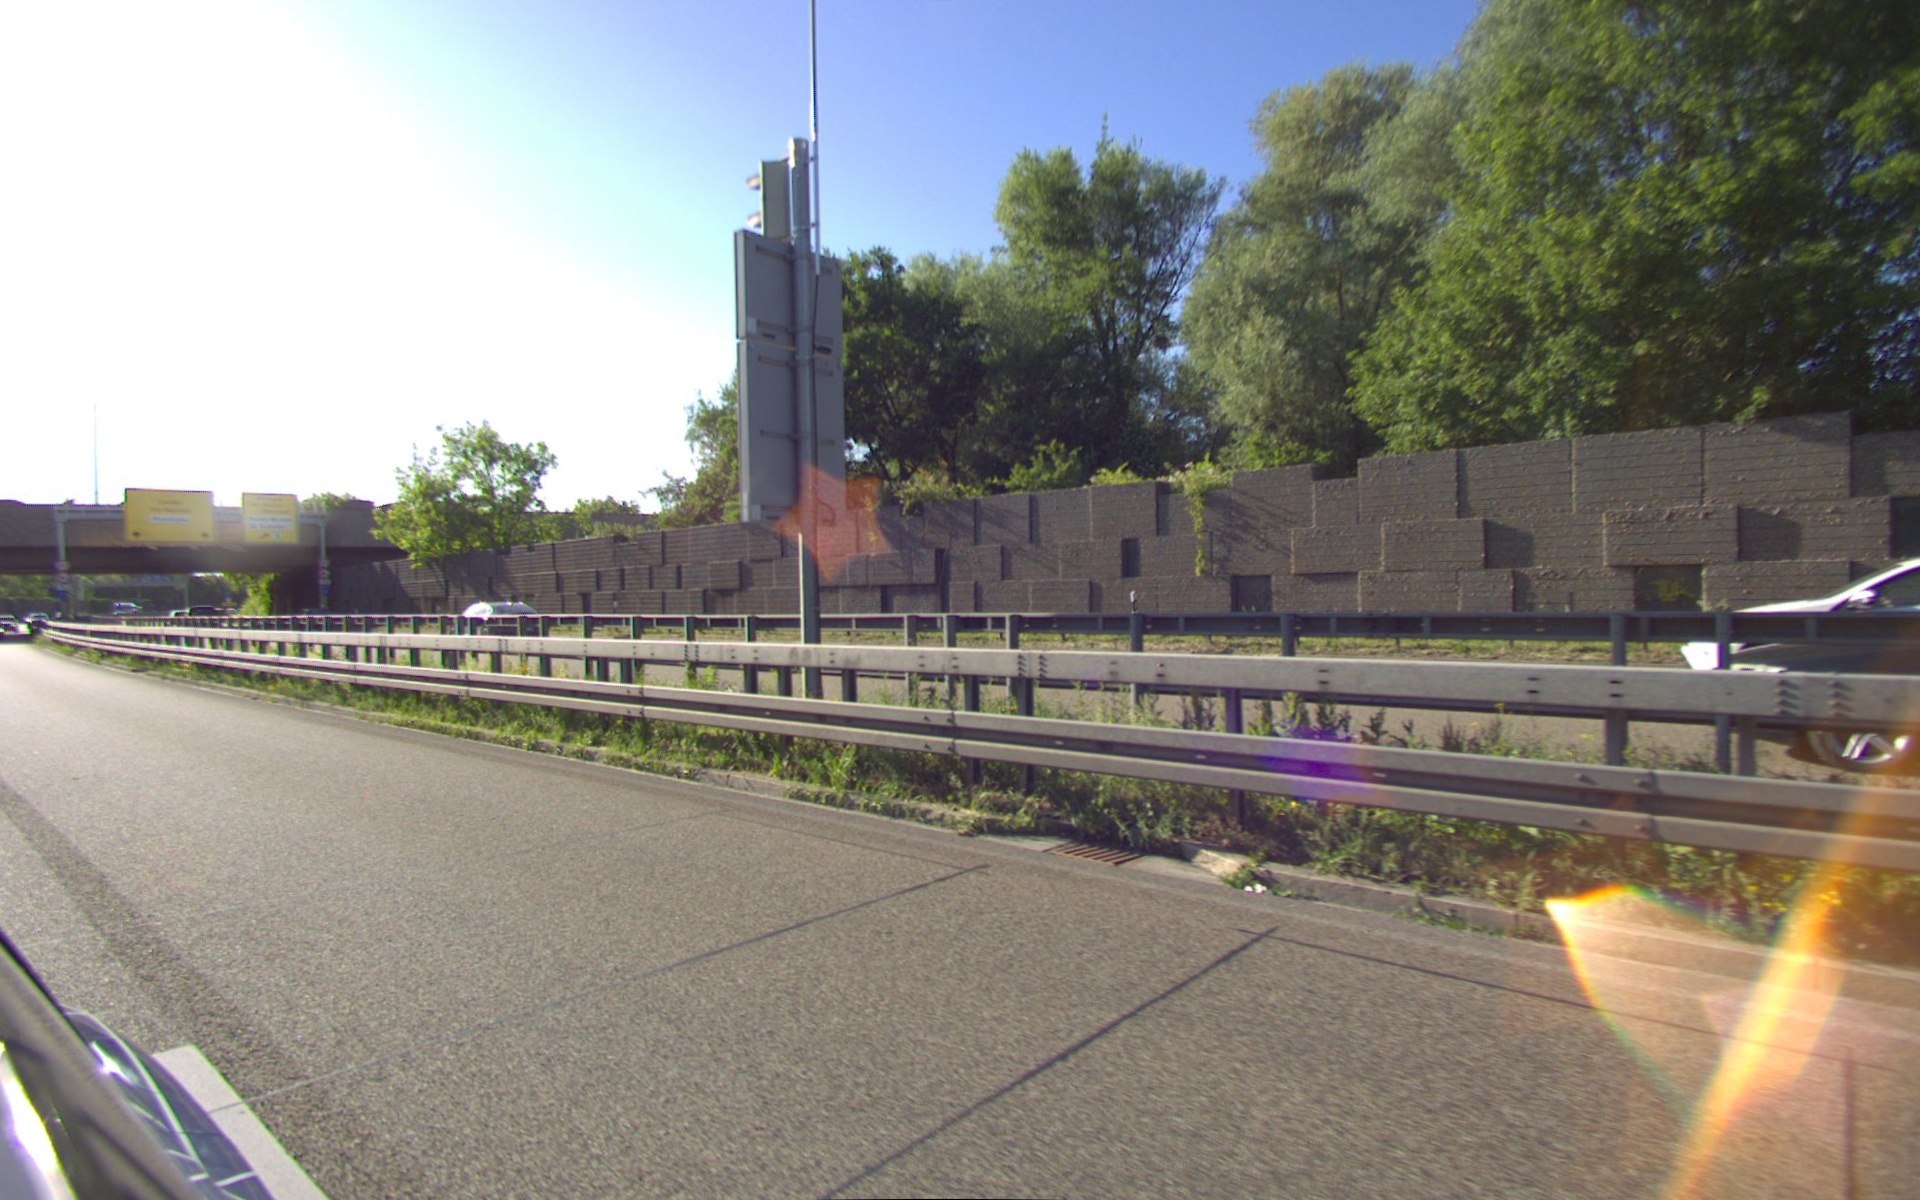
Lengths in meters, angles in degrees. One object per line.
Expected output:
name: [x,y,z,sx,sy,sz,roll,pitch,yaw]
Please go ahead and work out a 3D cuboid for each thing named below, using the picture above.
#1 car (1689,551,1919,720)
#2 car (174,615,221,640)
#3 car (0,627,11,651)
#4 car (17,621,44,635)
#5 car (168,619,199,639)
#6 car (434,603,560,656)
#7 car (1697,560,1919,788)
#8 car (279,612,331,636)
car: [10.309,0.297,10.186,4.619,1.608,1.973,-2,1,42]
car: [-53.740,1.969,71.266,4.810,1.585,1.876,-2,1,45]
car: [-61.085,2.482,63.636,1.970,1.425,4.834,-2,0,-44]
car: [-104.768,3.125,114.108,1.969,1.425,4.838,-2,0,-40]
car: [-69.299,2.597,90.290,4.397,1.585,1.528,-2,1,45]
car: [-14.969,0.950,32.615,4.533,1.491,1.973,-2,1,42]
car: [7.954,0.422,6.442,5.088,1.444,1.973,-2,1,42]
car: [-40.397,1.484,62.359,4.136,1.432,1.876,-2,-2,45]
